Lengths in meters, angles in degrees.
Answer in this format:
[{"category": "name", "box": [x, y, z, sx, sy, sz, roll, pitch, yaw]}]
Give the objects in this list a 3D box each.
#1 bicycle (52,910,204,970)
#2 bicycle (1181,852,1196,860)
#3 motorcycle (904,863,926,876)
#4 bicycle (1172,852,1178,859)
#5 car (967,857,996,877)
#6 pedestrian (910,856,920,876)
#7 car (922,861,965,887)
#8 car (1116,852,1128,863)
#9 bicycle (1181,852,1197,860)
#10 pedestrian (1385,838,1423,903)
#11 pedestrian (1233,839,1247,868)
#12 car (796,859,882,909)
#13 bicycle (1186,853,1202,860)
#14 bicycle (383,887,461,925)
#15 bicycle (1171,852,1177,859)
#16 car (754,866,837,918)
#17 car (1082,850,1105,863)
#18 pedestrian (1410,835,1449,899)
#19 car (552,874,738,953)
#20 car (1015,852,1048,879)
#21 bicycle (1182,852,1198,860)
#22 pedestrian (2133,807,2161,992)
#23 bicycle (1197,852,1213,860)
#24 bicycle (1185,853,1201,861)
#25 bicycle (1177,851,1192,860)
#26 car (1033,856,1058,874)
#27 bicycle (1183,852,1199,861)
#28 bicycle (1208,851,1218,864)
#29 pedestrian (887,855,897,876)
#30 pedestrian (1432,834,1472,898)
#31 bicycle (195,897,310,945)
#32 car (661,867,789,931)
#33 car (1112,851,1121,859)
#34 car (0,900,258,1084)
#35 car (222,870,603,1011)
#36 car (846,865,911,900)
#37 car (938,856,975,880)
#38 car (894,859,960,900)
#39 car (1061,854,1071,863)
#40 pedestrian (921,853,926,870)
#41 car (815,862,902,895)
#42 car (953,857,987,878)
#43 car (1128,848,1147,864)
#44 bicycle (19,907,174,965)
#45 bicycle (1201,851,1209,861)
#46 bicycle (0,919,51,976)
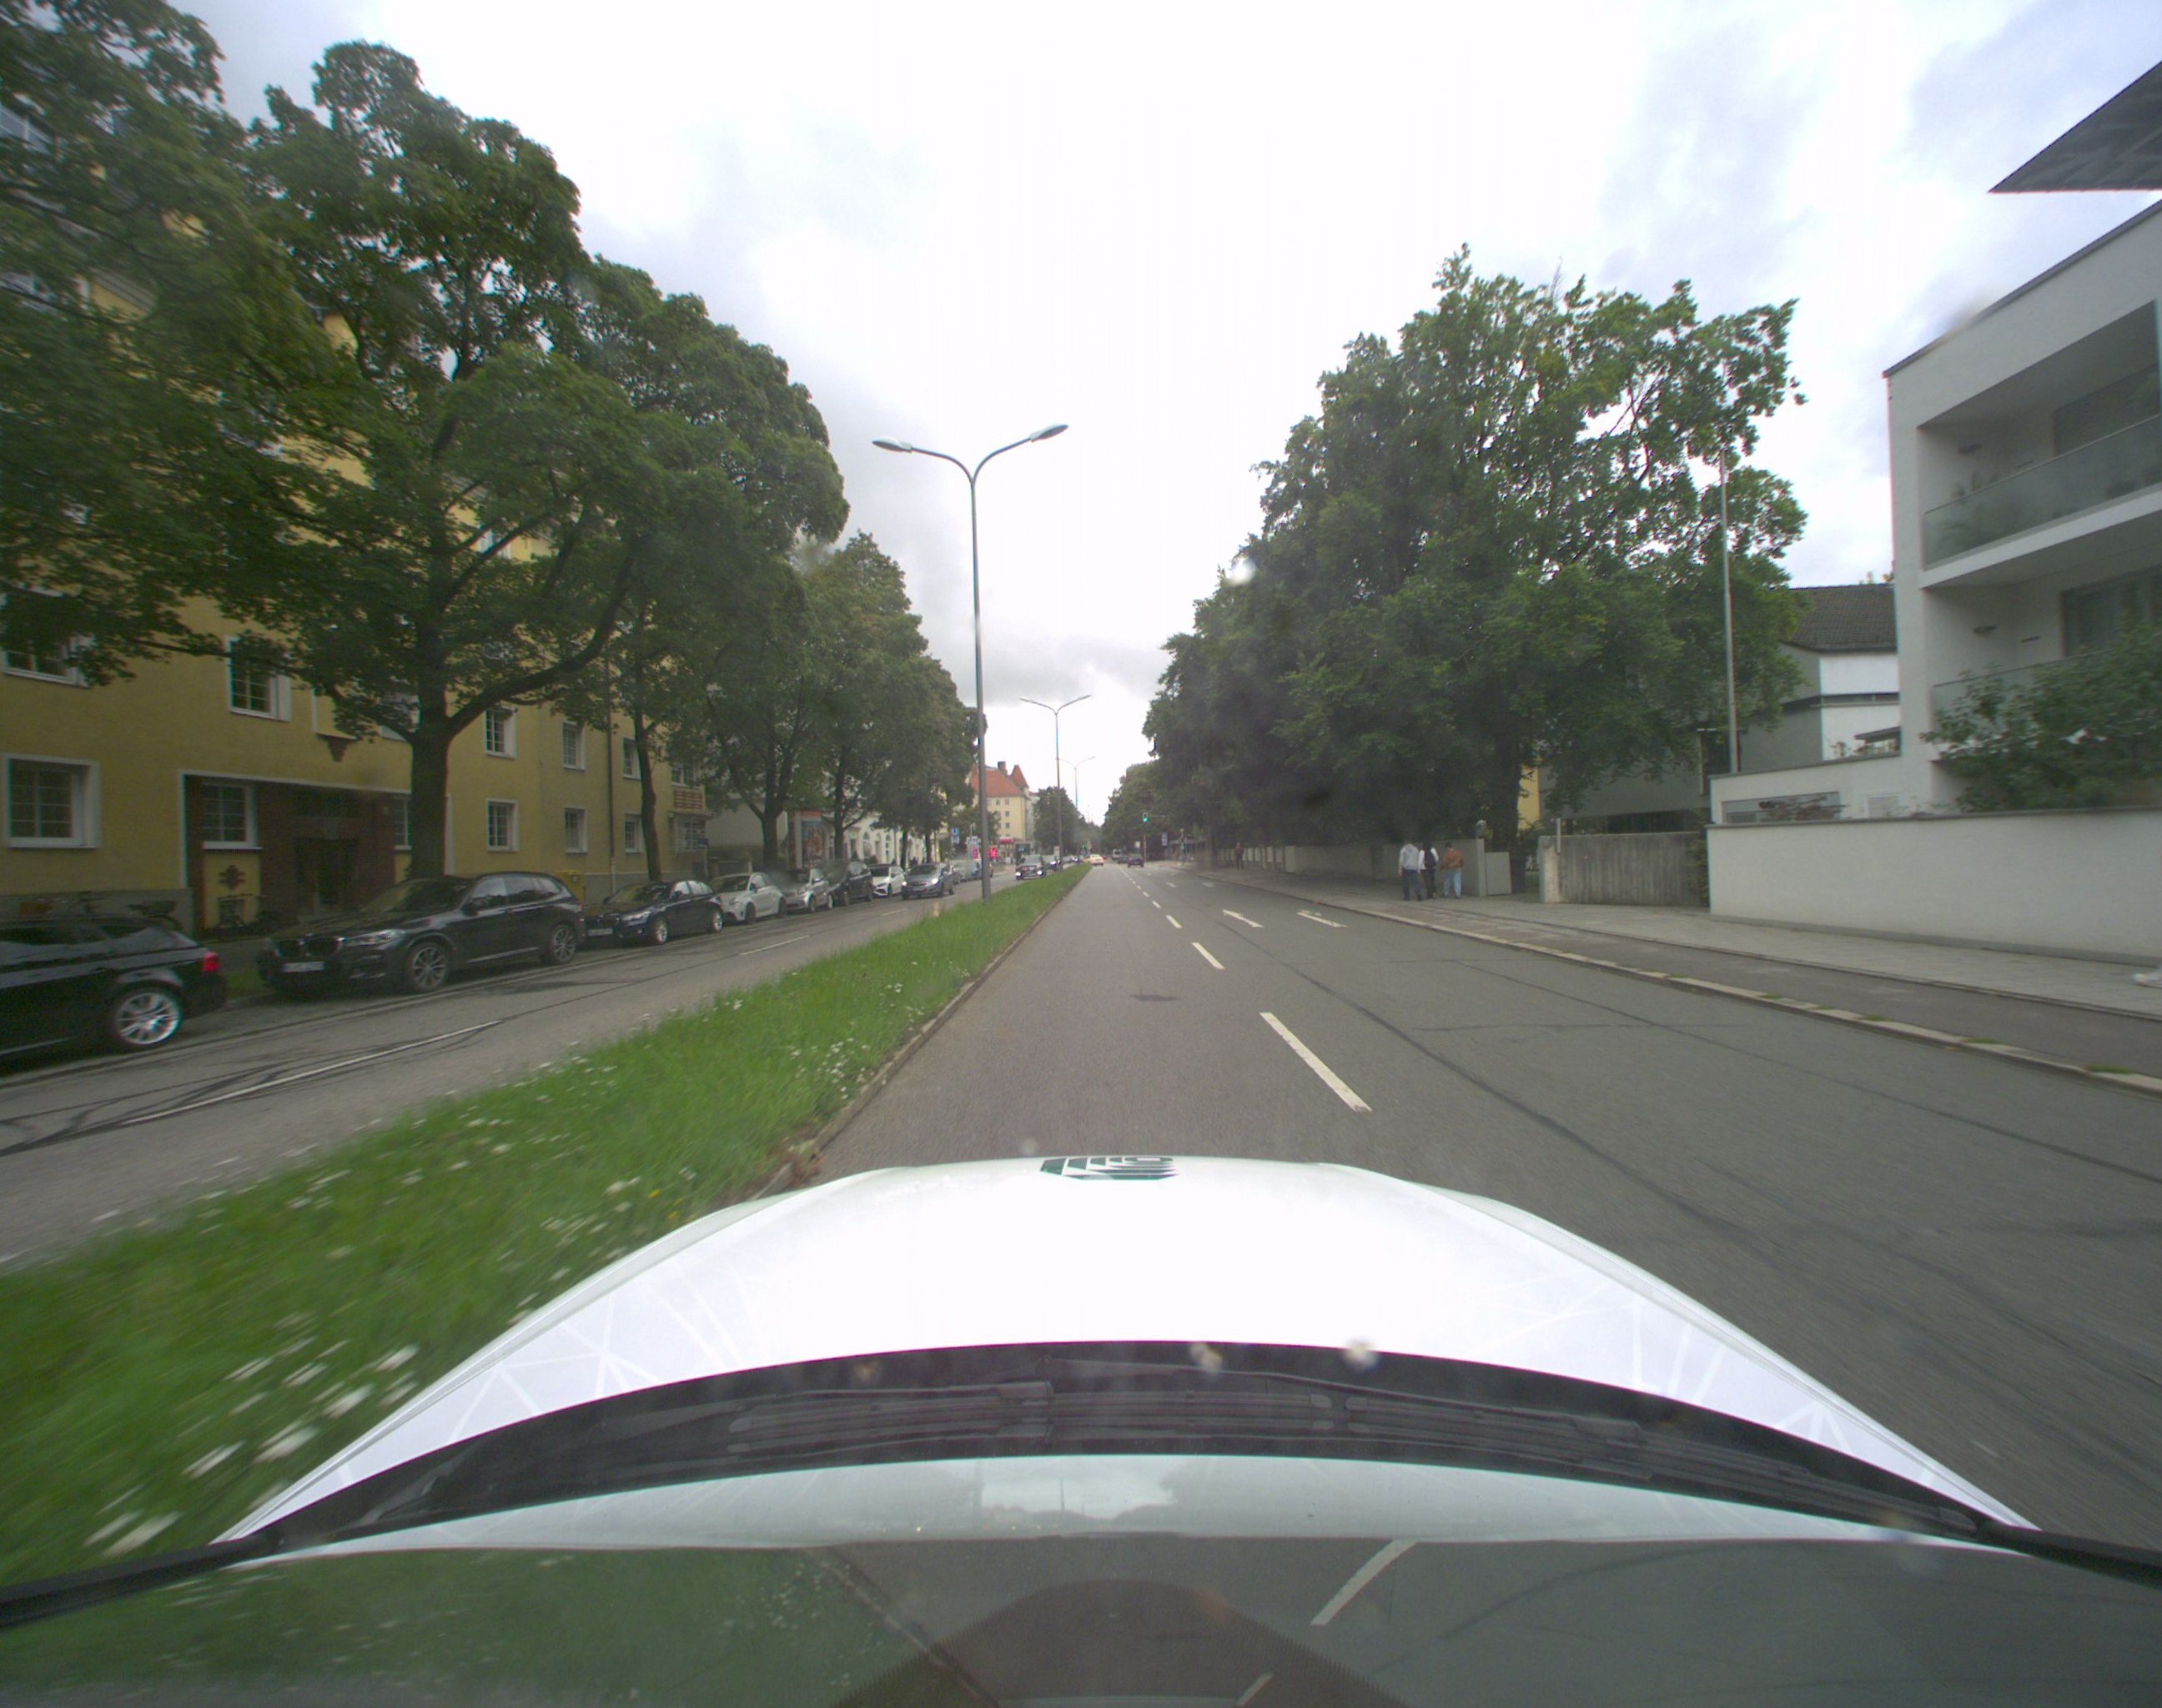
[{"category": "bicycle", "box": [-17.976, 1.592, 15.435, 0.539, 0.899, 1.931, -2, 0, 2]}, {"category": "bicycle", "box": [15.059, 0.272, 114.091, 2.130, 1.014, 0.604, -2, 0, 9]}, {"category": "motorcycle", "box": [-15.778, 1.459, 77.413, 0.602, 1.130, 1.999, -2, -1, 41]}, {"category": "bicycle", "box": [13.907, 0.281, 120.406, 0.555, 1.014, 2.015, -2, 0, 0]}, {"category": "car", "box": [-8.245, 1.071, 67.758, 1.642, 1.585, 3.793, -2, 0, 4]}, {"category": "pedestrian", "box": [-14.602, 1.048, 71.493, 0.594, 1.697, 0.937, -2, 0, -26]}, {"category": "car", "box": [-8.712, 1.234, 51.942, 1.804, 1.507, 4.647, -2, 0, 2]}, {"category": "car", "box": [5.982, 0.486, 119.385, 1.772, 1.474, 3.894, -1, 0, 2]}, {"category": "bicycle", "box": [15.178, 0.258, 114.799, 2.130, 1.086, 0.604, -2, 0, 9]}, {"category": "pedestrian", "box": [8.864, 0.443, 22.359, 0.664, 1.722, 0.729, -4, 0, 0]}, {"category": "pedestrian", "box": [10.981, -0.048, 56.259, 0.774, 1.942, 0.803, -3, 0, 2]}, {"category": "car", "box": [-9.464, 1.108, 32.285, 1.803, 1.728, 4.769, -2, 0, 2]}, {"category": "bicycle", "box": [15.480, 0.343, 111.905, 2.130, 1.014, 0.636, -2, 0, 9]}, {"category": "bicycle", "box": [-18.275, 1.417, 22.645, 0.539, 0.899, 1.931, -2, 0, 2]}, {"category": "bicycle", "box": [14.044, 0.186, 123.138, 0.555, 1.014, 2.015, -2, 0, 0]}, {"category": "car", "box": [-9.664, 1.241, 27.746, 1.721, 1.558, 3.009, -2, 0, 0]}, {"category": "car", "box": [1.555, 0.322, 104.624, 1.782, 1.647, 4.757, -2, 0, -14]}, {"category": "pedestrian", "box": [9.549, 0.347, 22.349, 0.664, 1.693, 0.729, -4, 0, 0]}, {"category": "car", "box": [-9.682, 1.251, 18.534, 1.720, 1.406, 4.365, -2, 0, 2]}, {"category": "car", "box": [-3.311, 0.732, 55.364, 1.763, 1.679, 4.371, -4, 0, 2]}, {"category": "bicycle", "box": [15.165, 0.261, 113.374, 2.130, 1.101, 0.604, -2, 0, 9]}, {"category": "pedestrian", "box": [9.524, 0.380, 6.764, 0.526, 1.581, 0.729, -4, 0, 1]}, {"category": "bicycle", "box": [17.590, 0.254, 115.306, 2.130, 1.014, 0.636, -2, 0, 9]}, {"category": "bicycle", "box": [15.262, 0.361, 111.285, 2.130, 1.014, 0.604, -2, 0, 9]}, {"category": "bicycle", "box": [15.006, 0.256, 117.865, 2.130, 1.218, 0.604, -2, 0, 9]}, {"category": "car", "box": [-3.386, 1.020, 78.755, 1.868, 1.585, 4.623, -4, 0, 2]}, {"category": "bicycle", "box": [15.275, 0.327, 112.668, 2.130, 1.071, 0.604, -2, 0, 9]}, {"category": "bicycle", "box": [12.222, 0.309, 75.276, 0.620, 1.090, 2.026, -2, 0, 2]}, {"category": "pedestrian", "box": [-15.200, 0.915, 65.587, 0.541, 1.697, 0.770, -2, 0, 0]}, {"category": "pedestrian", "box": [10.287, 0.340, 22.621, 0.664, 1.705, 0.766, -4, 0, 1]}, {"category": "bicycle", "box": [-18.545, 1.466, 18.285, 0.539, 0.899, 1.931, -2, 0, 2]}, {"category": "car", "box": [-10.027, 1.209, 23.317, 1.720, 1.561, 4.059, -2, 0, 2]}, {"category": "car", "box": [8.116, 0.295, 187.777, 1.986, 1.756, 4.001, -2, 0, 1]}, {"category": "car", "box": [-10.119, 1.267, 6.848, 1.686, 1.454, 4.494, -2, 0, 2]}, {"category": "car", "box": [-9.936, 1.154, 12.774, 1.871, 1.645, 4.772, -2, 0, 2]}, {"category": "car", "box": [-9.296, 1.261, 37.713, 1.720, 1.403, 4.406, -2, 0, 2]}, {"category": "car", "box": [-8.767, 0.965, 57.508, 1.804, 1.507, 3.962, -2, 0, 2]}, {"category": "car", "box": [-6.534, 1.046, 34.991, 1.804, 1.507, 4.059, -4, 0, 2]}, {"category": "car", "box": [-2.812, 0.862, 156.061, 1.753, 1.460, 4.001, -2, 0, 1]}, {"category": "pedestrian", "box": [-15.948, 0.748, 82.550, 0.422, 1.631, 0.779, -2, 0, -13]}, {"category": "car", "box": [-11.300, 1.229, 41.479, 3.877, 1.464, 1.732, -2, 0, 0]}, {"category": "car", "box": [-8.483, 0.995, 62.396, 1.804, 1.507, 4.293, -2, 0, 2]}, {"category": "car", "box": [6.168, 0.204, 88.862, 1.850, 1.684, 4.001, -2, 0, 1]}, {"category": "bicycle", "box": [-18.578, 1.520, 15.444, 0.539, 0.899, 1.931, -2, 0, 2]}, {"category": "bicycle", "box": [13.782, 0.231, 90.397, 0.597, 1.121, 1.890, -2, -1, 2]}, {"category": "bicycle", "box": [-18.526, 1.616, 13.465, 0.482, 0.899, 1.931, -2, 0, 2]}]
